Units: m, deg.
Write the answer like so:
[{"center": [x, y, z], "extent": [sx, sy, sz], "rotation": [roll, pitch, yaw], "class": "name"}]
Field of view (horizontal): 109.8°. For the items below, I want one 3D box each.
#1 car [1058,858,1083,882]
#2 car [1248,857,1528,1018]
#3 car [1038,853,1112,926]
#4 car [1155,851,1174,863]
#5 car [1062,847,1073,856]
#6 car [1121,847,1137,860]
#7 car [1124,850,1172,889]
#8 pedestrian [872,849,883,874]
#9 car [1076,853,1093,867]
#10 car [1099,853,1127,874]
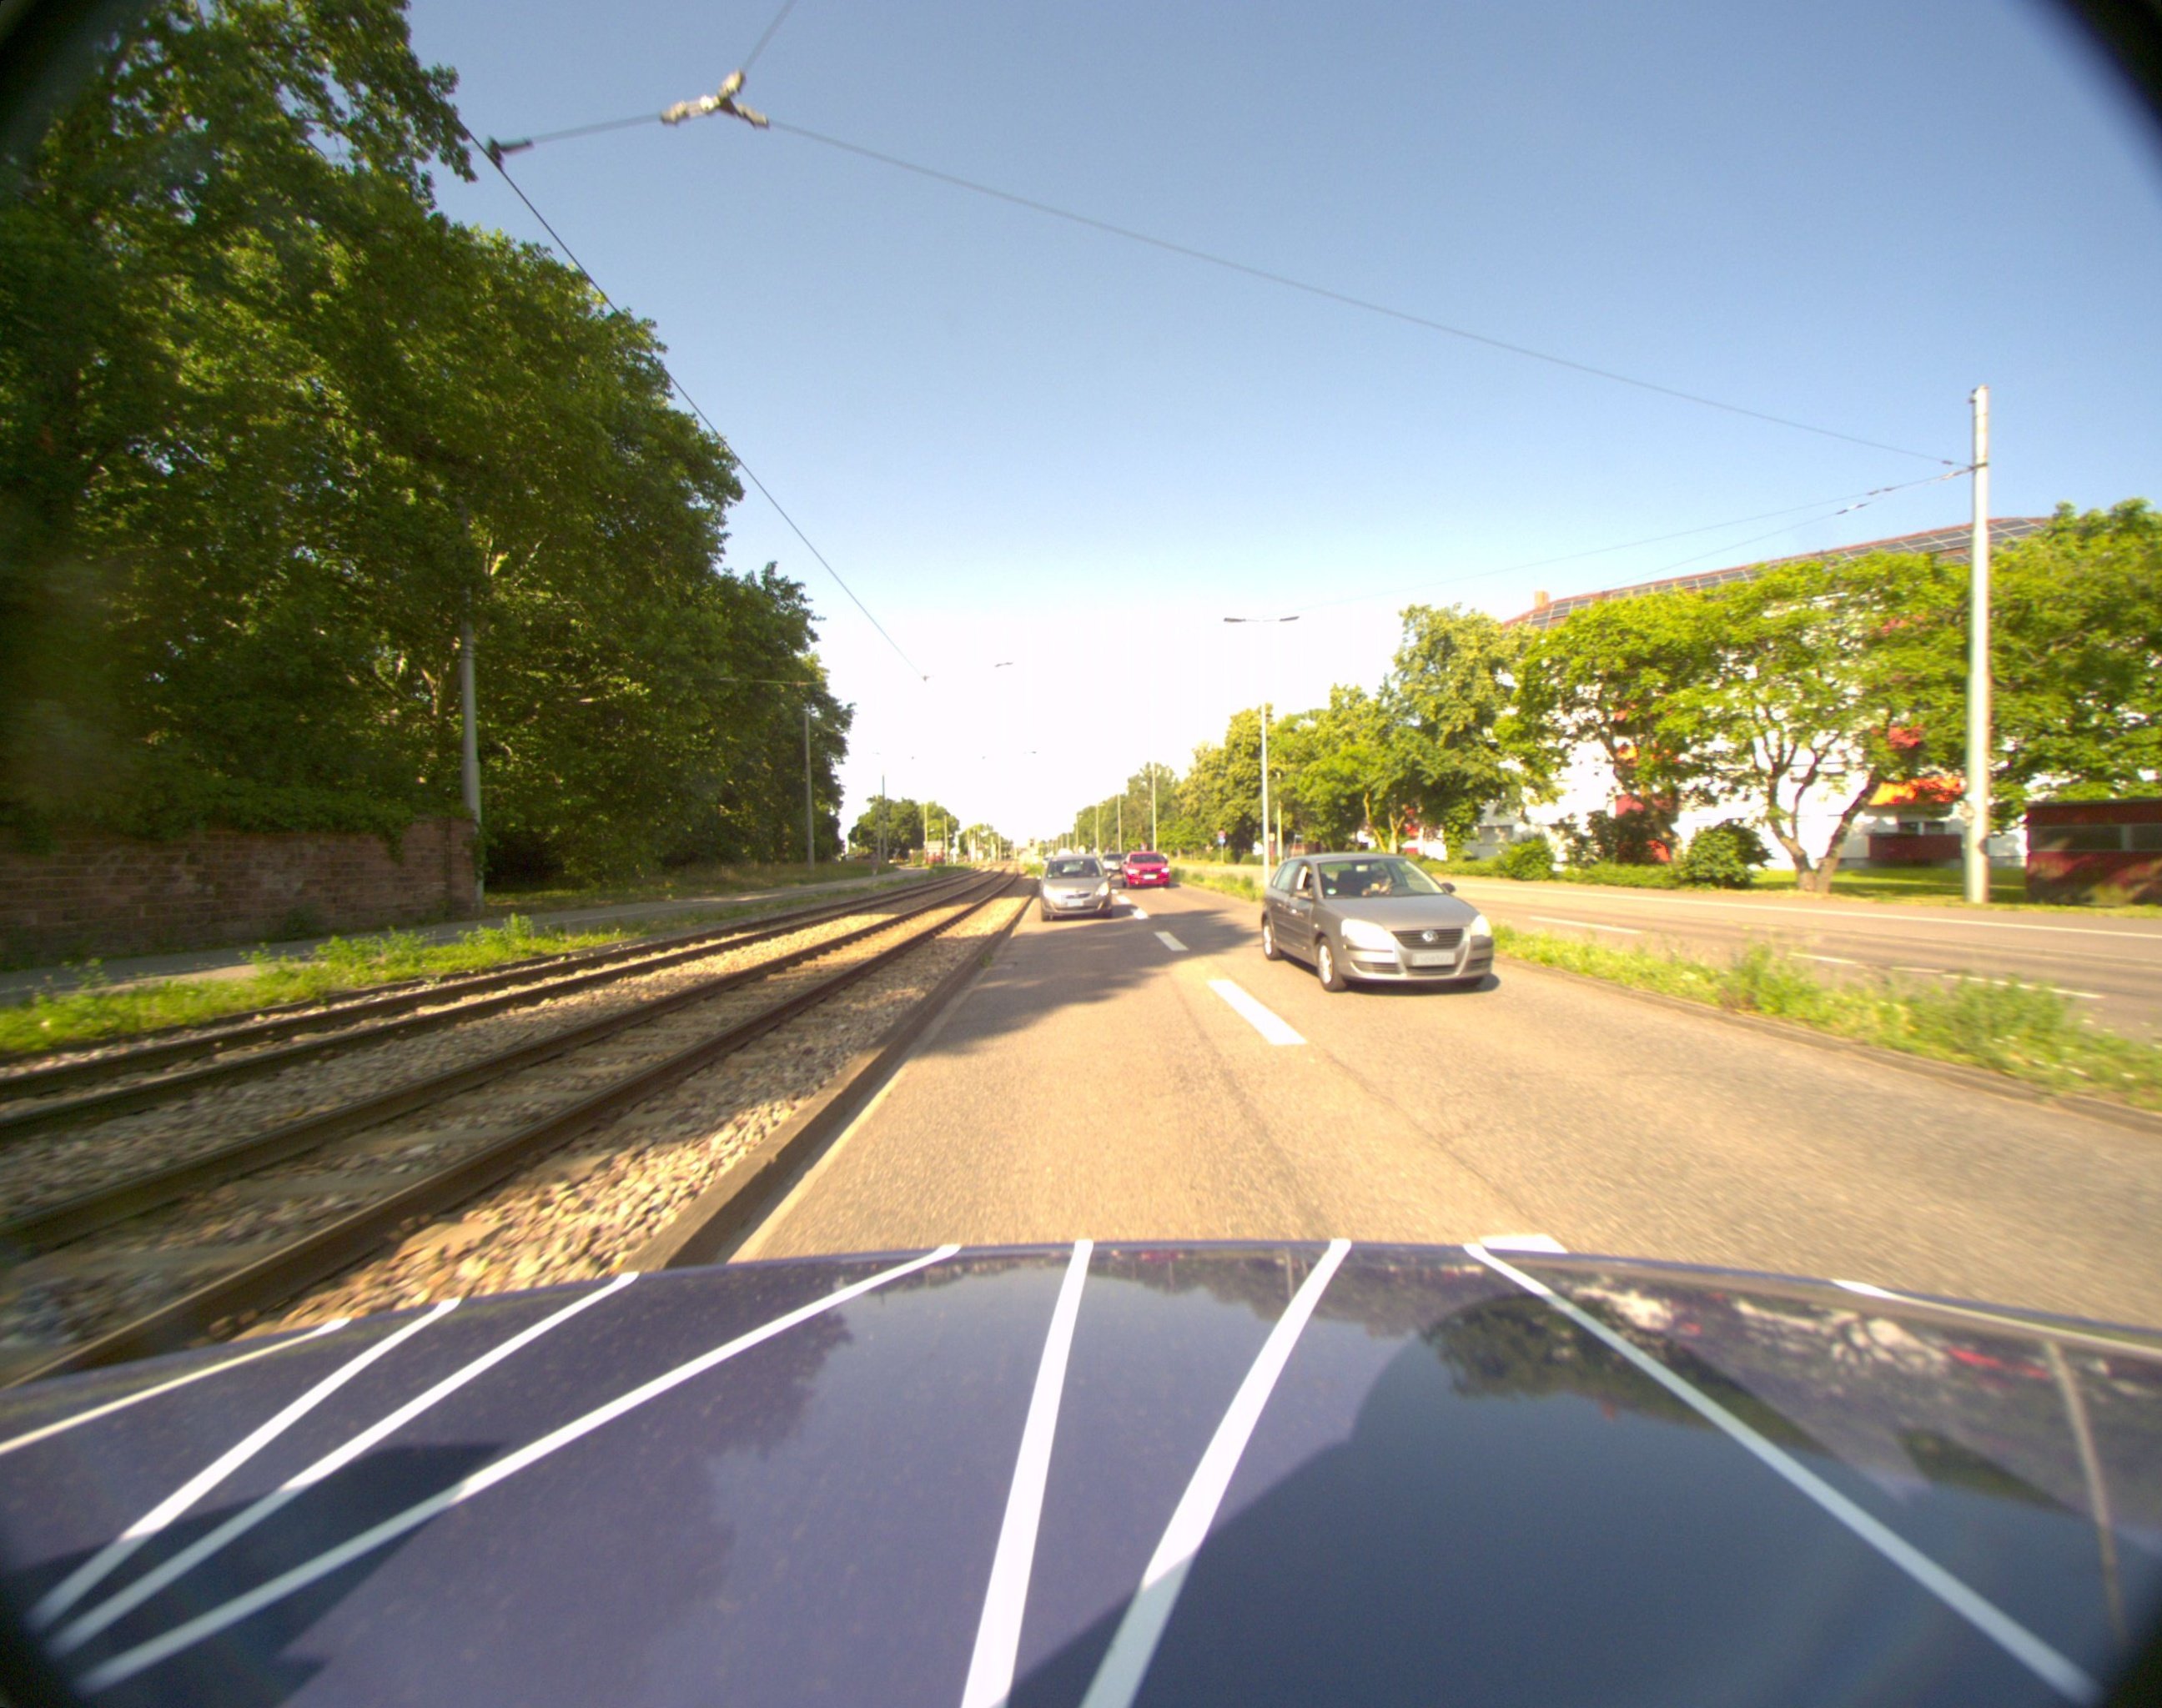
[{"center": [-0.753, 1.109, 54.538], "extent": [1.710, 1.513, 3.832], "rotation": [-2, 0, -1], "class": "car"}, {"center": [3.316, 0.794, 9.065], "extent": [1.693, 1.420, 3.832], "rotation": [-2, 0, -1], "class": "car"}, {"center": [-0.172, 0.812, 19.350], "extent": [1.650, 1.581, 3.832], "rotation": [-2, 0, -1], "class": "car"}, {"center": [10.122, 0.404, 92.539], "extent": [1.728, 1.411, 4.325], "rotation": [0, 0, -1], "class": "car"}, {"center": [-2.322, -0.434, 132.041], "extent": [1.710, 1.513, 3.832], "rotation": [-2, 0, -3], "class": "car"}, {"center": [6.611, -0.128, 105.527], "extent": [1.795, 1.774, 4.479], "rotation": [-1, 0, -2], "class": "car"}, {"center": [2.918, 0.630, 33.744], "extent": [1.693, 1.573, 3.832], "rotation": [-2, 0, 0], "class": "car"}, {"center": [-14.078, 0.540, 52.571], "extent": [0.501, 1.706, 0.885], "rotation": [-1, 1, 4], "class": "pedestrian"}, {"center": [0.429, 0.776, 94.359], "extent": [1.774, 1.669, 4.047], "rotation": [0, 0, -4], "class": "car"}, {"center": [2.408, 0.684, 57.560], "extent": [1.710, 1.513, 3.832], "rotation": [-2, 0, -3], "class": "car"}]
